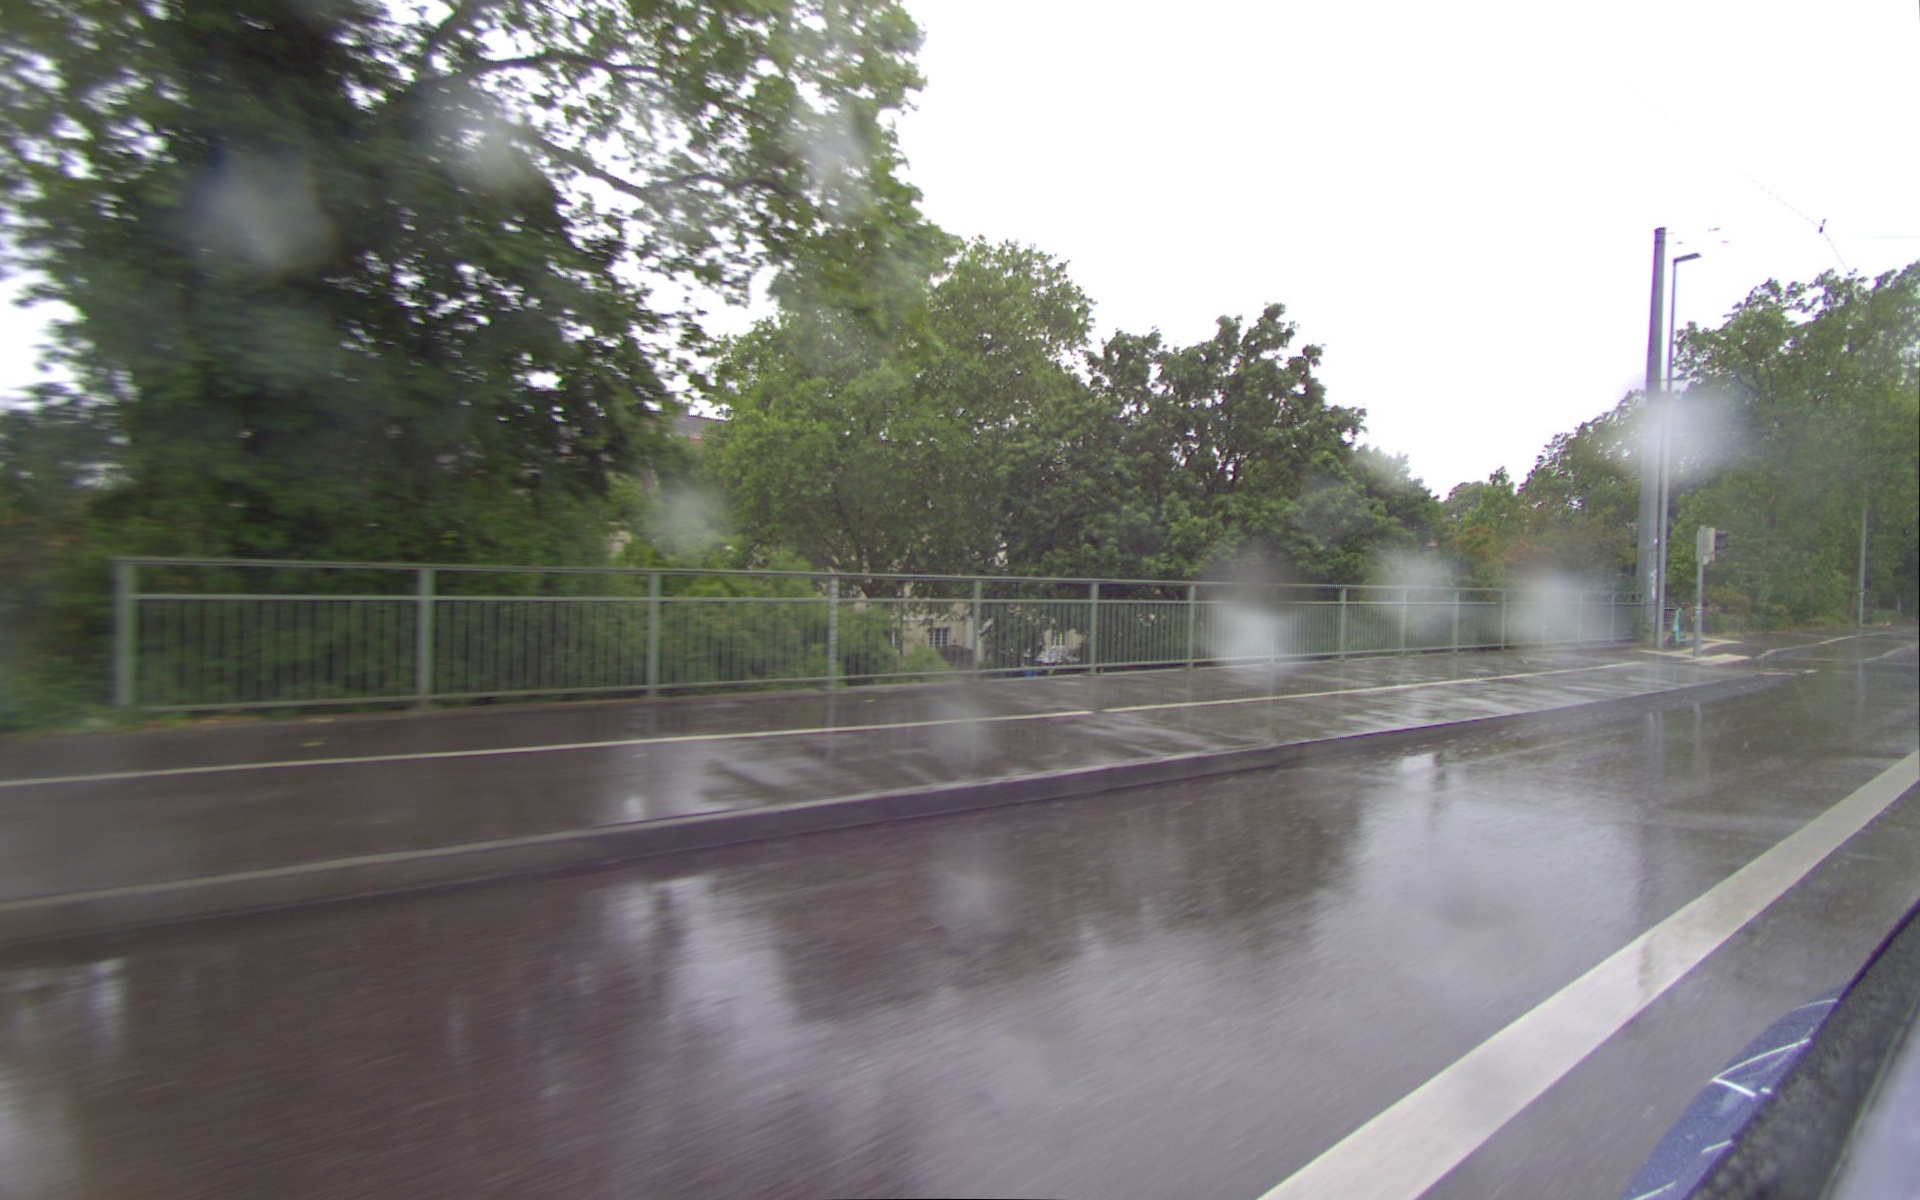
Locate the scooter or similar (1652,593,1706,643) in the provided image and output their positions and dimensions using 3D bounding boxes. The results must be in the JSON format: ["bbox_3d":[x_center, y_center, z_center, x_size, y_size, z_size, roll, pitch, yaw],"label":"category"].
[{"bbox_3d":[19.598,0.476,27.567,1.616,1.309,0.761,0,1,-38],"label":"scooter or similar"}]
